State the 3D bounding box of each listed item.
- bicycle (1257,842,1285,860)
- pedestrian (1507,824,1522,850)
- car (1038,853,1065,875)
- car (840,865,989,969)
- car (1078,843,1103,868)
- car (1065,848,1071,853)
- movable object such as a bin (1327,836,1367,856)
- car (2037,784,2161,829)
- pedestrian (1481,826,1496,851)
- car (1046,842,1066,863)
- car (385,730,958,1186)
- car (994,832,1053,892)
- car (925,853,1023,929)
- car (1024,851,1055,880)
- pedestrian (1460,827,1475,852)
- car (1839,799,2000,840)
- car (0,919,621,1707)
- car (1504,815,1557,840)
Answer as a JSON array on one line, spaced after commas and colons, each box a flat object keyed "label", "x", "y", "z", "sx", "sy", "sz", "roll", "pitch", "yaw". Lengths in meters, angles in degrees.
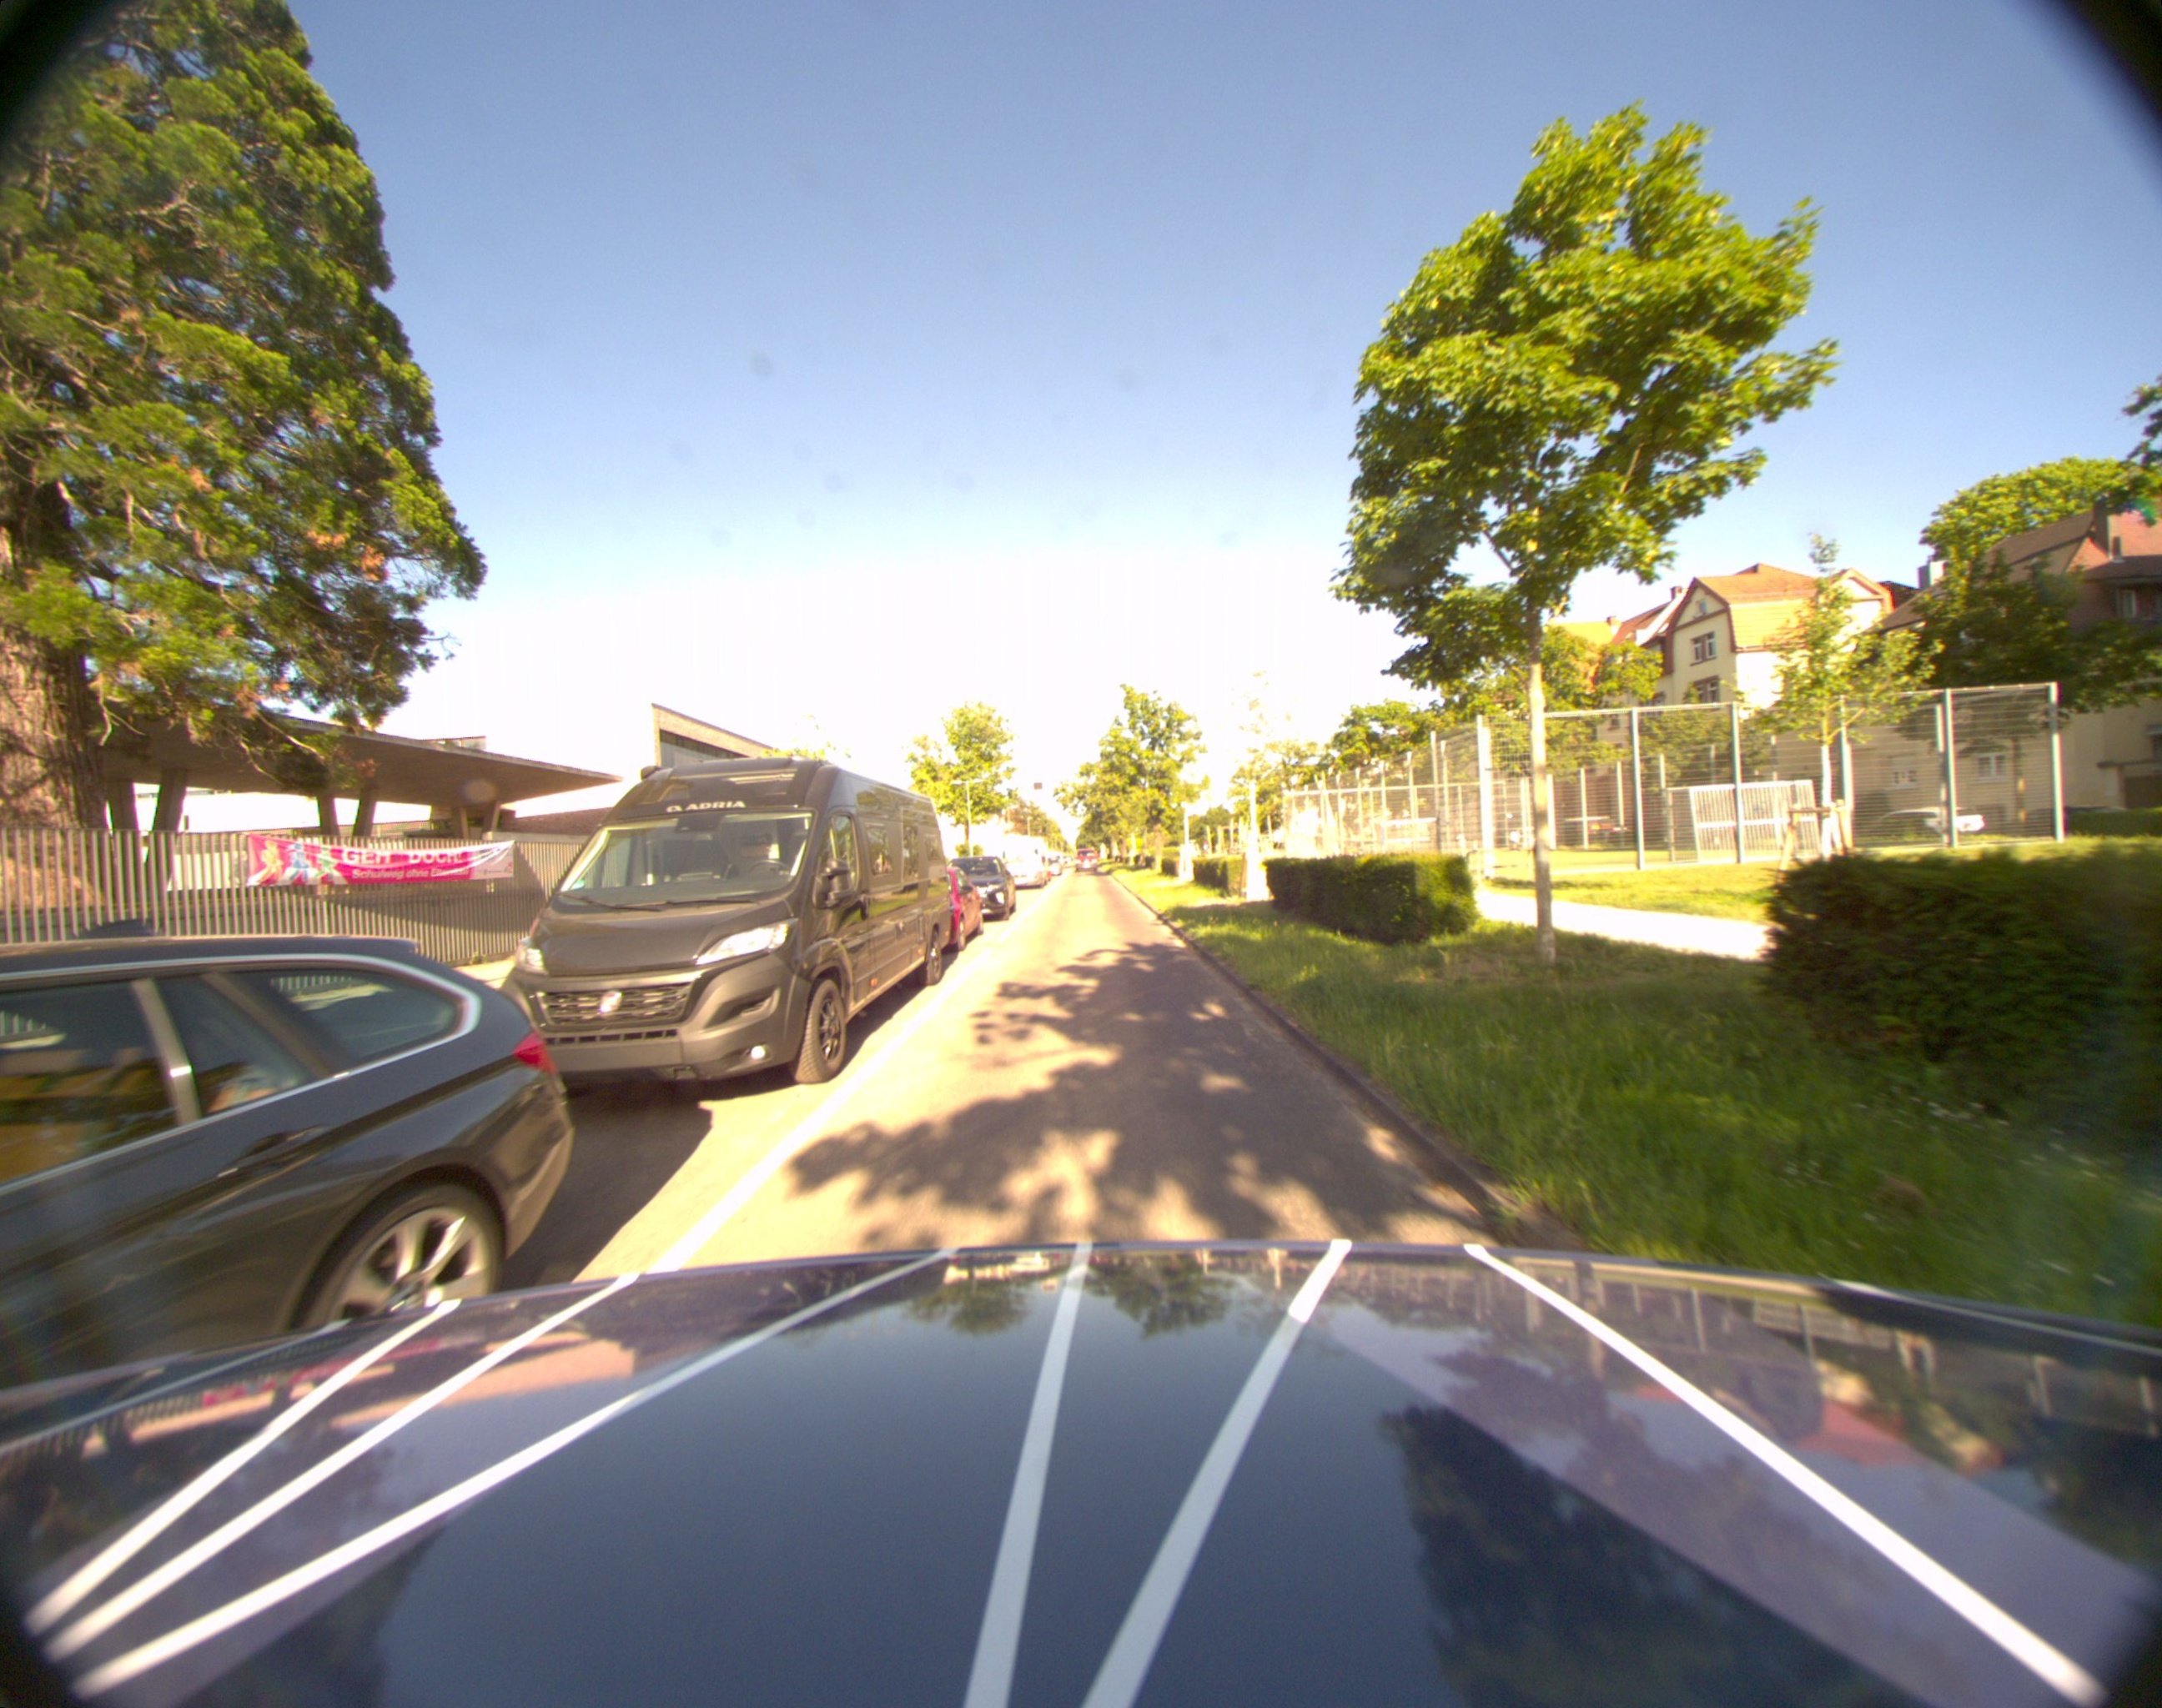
[{"label": "bicycle", "x": 13.323, "y": -0.206, "z": 53.291, "sx": 1.799, "sy": 1.101, "sz": 0.500, "roll": -4, "pitch": 1, "yaw": -1}, {"label": "pedestrian", "x": 23.294, "y": -0.906, "z": 40.812, "sx": 0.648, "sy": 1.310, "sz": 0.651, "roll": -3, "pitch": 1, "yaw": 30}, {"label": "car", "x": -2.205, "y": 0.707, "z": 57.298, "sx": 1.705, "sy": 1.470, "sz": 4.173, "roll": -4, "pitch": 1, "yaw": 1}, {"label": "car", "x": -2.870, "y": 1.026, "z": 14.024, "sx": 1.799, "sy": 1.447, "sz": 3.949, "roll": -3, "pitch": 1, "yaw": 0}, {"label": "car", "x": 0.790, "y": 0.124, "z": 66.599, "sx": 2.092, "sy": 2.000, "sz": 4.844, "roll": -1, "pitch": 0, "yaw": 0}, {"label": "car", "x": -4.201, "y": -1.194, "z": 244.889, "sx": 1.799, "sy": 1.529, "sz": 4.000, "roll": -4, "pitch": -1, "yaw": 0}, {"label": "movable object such as a bin", "x": 18.097, "y": -0.538, "z": 51.684, "sx": 2.337, "sy": 1.235, "sz": 1.056, "roll": -3, "pitch": 1, "yaw": -3}, {"label": "car", "x": 39.567, "y": -1.819, "z": 28.591, "sx": 1.799, "sy": 1.501, "sz": 4.231, "roll": -4, "pitch": 1, "yaw": 1}, {"label": "pedestrian", "x": 22.239, "y": -0.868, "z": 41.420, "sx": 0.648, "sy": 1.310, "sz": 0.651, "roll": -3, "pitch": 1, "yaw": 30}, {"label": "car", "x": -2.444, "y": -0.124, "z": 75.574, "sx": 1.812, "sy": 1.897, "sz": 4.460, "roll": -4, "pitch": 1, "yaw": -1}, {"label": "car", "x": -2.856, "y": 0.564, "z": 7.612, "sx": 2.121, "sy": 2.501, "sz": 6.530, "roll": -3, "pitch": 1, "yaw": -1}, {"label": "car", "x": -2.715, "y": 0.332, "z": 37.297, "sx": 2.246, "sy": 2.560, "sz": 5.432, "roll": -4, "pitch": 1, "yaw": 1}, {"label": "car", "x": -2.655, "y": 0.849, "z": 19.853, "sx": 1.851, "sy": 1.631, "sz": 4.503, "roll": -3, "pitch": 1, "yaw": 0}, {"label": "car", "x": -2.452, "y": 0.660, "z": 45.329, "sx": 1.624, "sy": 1.579, "sz": 3.591, "roll": -4, "pitch": 0, "yaw": -2}, {"label": "pedestrian", "x": 21.302, "y": -0.801, "z": 41.893, "sx": 0.648, "sy": 1.310, "sz": 0.651, "roll": -3, "pitch": 1, "yaw": 30}, {"label": "car", "x": 39.489, "y": -1.558, "z": 36.033, "sx": 1.886, "sy": 1.642, "sz": 5.182, "roll": -4, "pitch": 1, "yaw": 1}, {"label": "car", "x": -2.949, "y": 1.052, "z": 0.765, "sx": 1.998, "sy": 1.412, "sz": 4.635, "roll": -3, "pitch": 1, "yaw": 1}, {"label": "car", "x": 40.185, "y": -2.353, "z": 68.066, "sx": 1.799, "sy": 1.971, "sz": 4.835, "roll": -4, "pitch": 1, "yaw": 1}]
